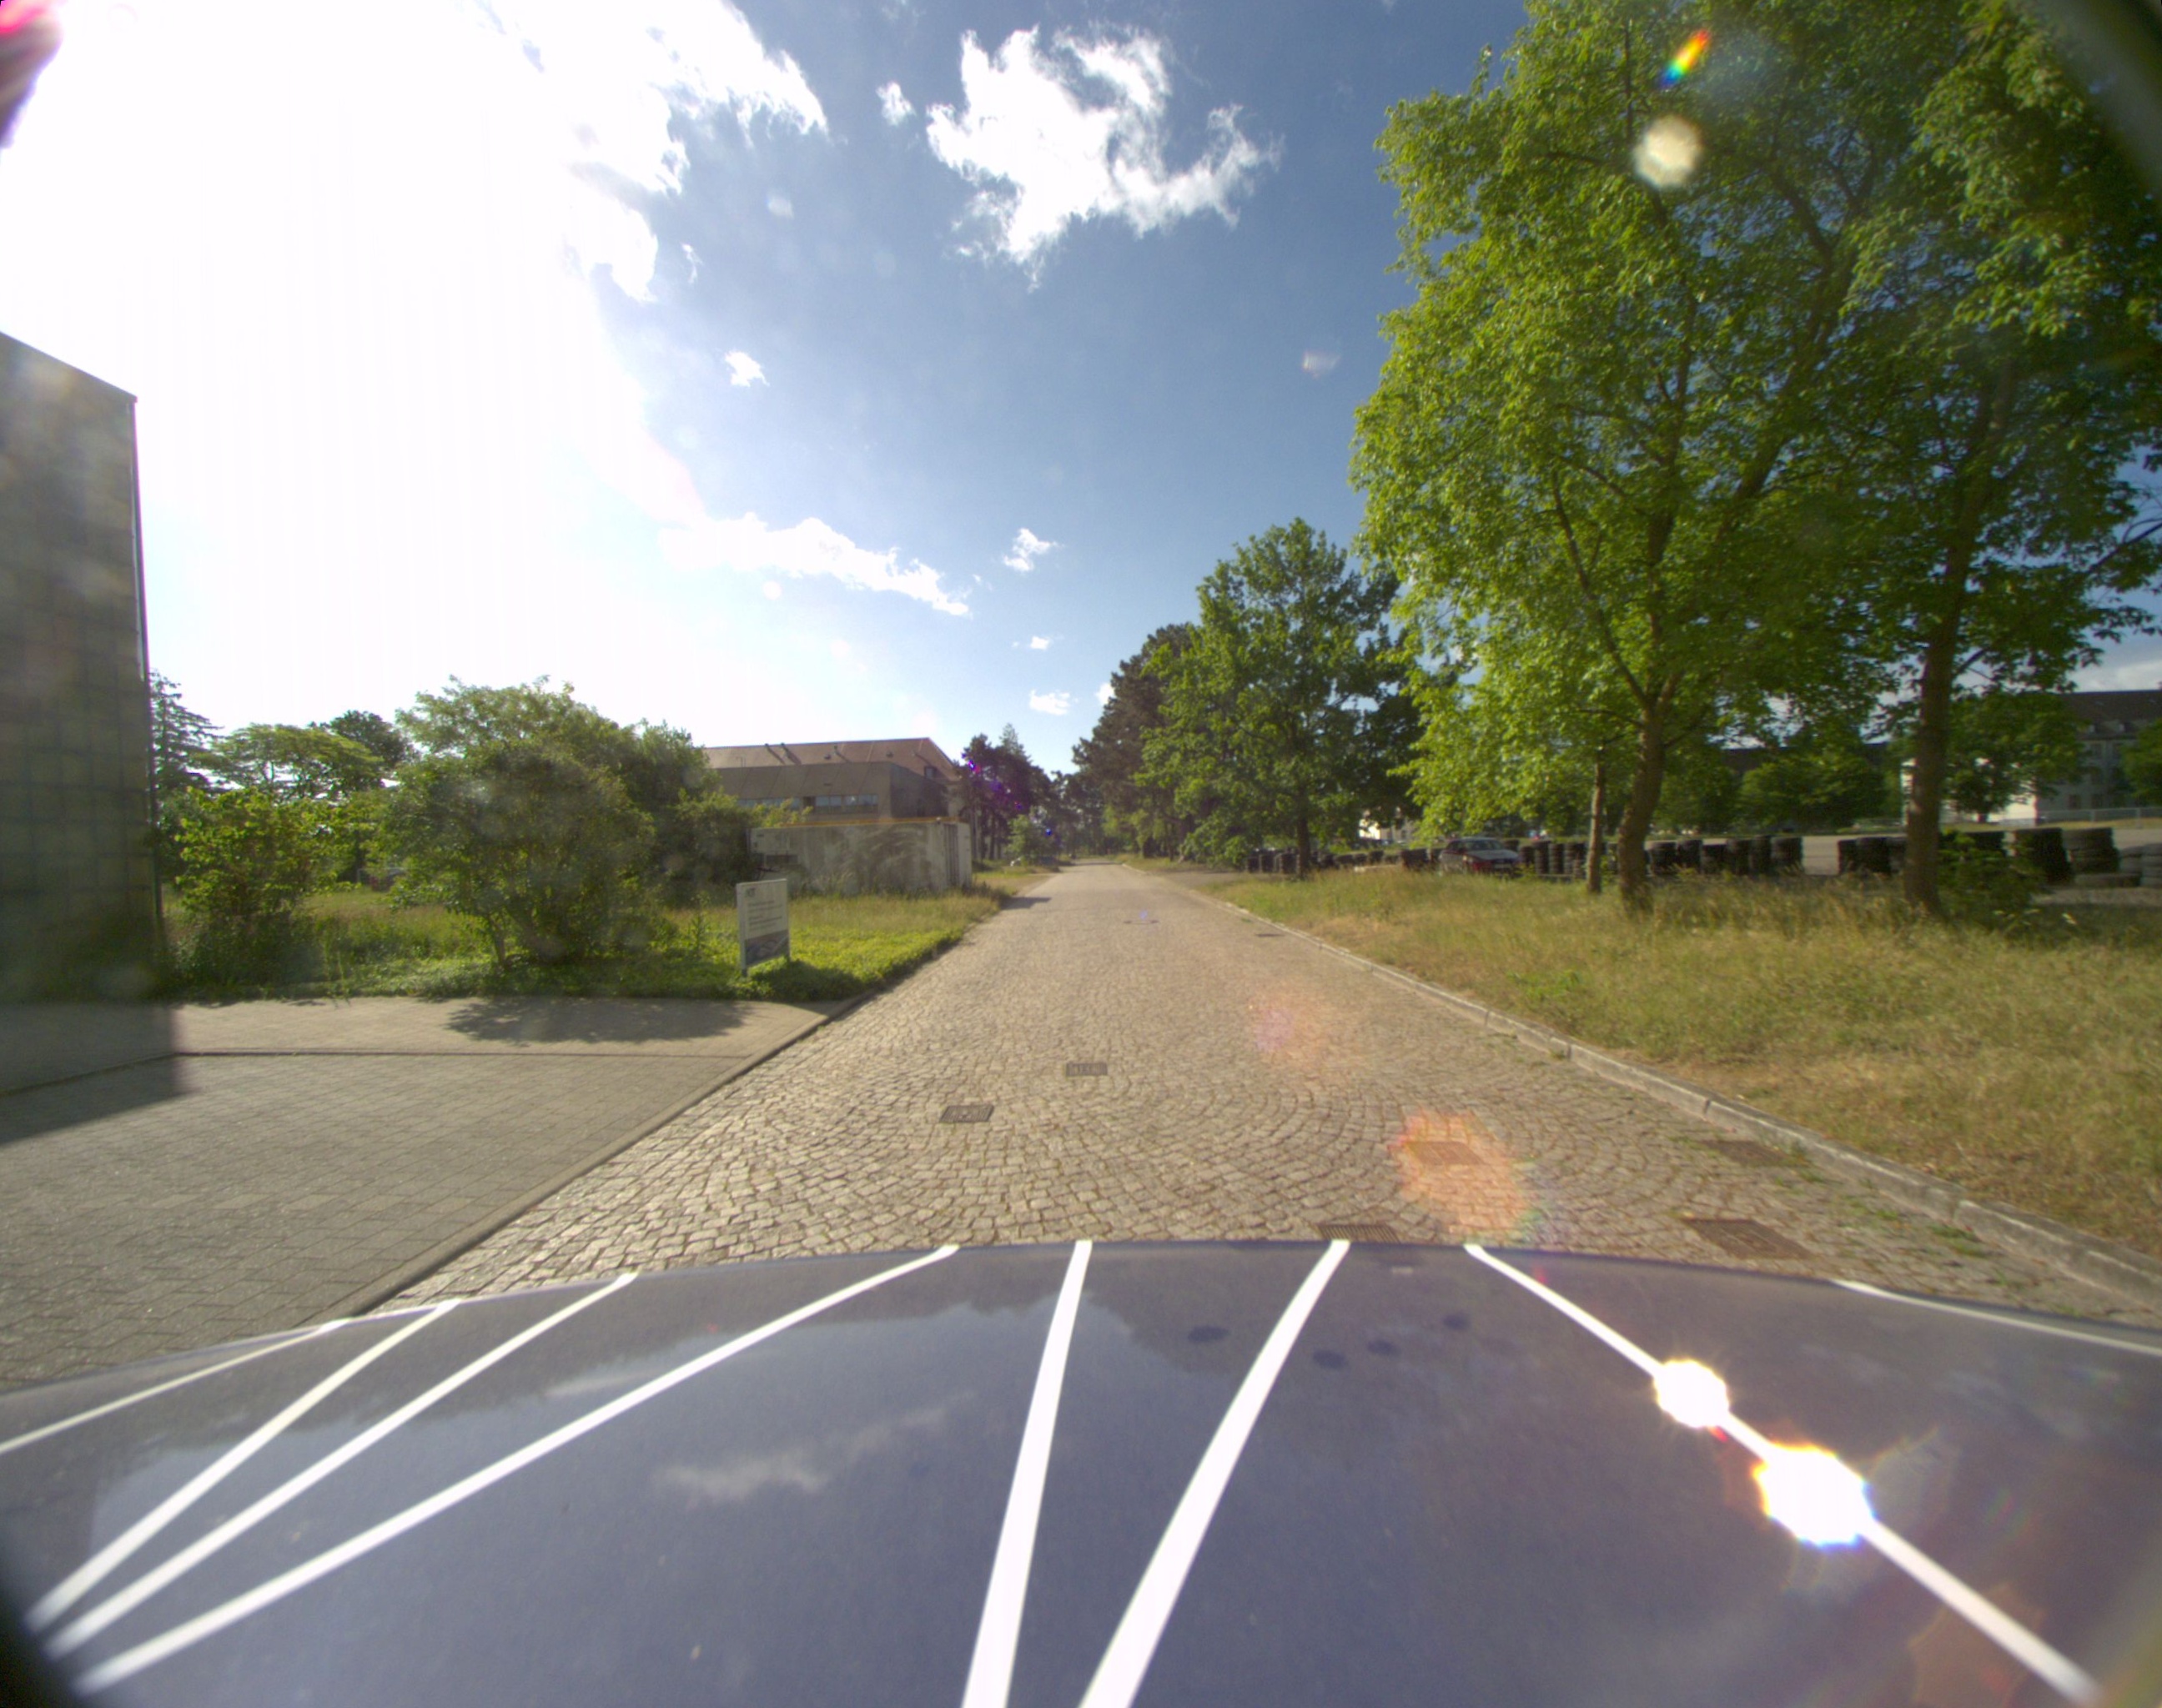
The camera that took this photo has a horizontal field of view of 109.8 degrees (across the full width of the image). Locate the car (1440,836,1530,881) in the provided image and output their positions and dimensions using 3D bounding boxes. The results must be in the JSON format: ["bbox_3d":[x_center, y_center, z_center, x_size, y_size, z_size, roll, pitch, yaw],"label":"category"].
[{"bbox_3d":[13.814,0.116,26.197,1.544,1.398,3.579,-2,0,7],"label":"car"}]

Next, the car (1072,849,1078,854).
[{"bbox_3d":[-1.543,-0.686,190.799,1.373,1.092,2.862,-2,0,-2],"label":"car"}]

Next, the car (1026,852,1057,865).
[{"bbox_3d":[-3.917,0.438,75.506,2.911,1.252,1.287,-2,1,-8],"label":"car"}]
